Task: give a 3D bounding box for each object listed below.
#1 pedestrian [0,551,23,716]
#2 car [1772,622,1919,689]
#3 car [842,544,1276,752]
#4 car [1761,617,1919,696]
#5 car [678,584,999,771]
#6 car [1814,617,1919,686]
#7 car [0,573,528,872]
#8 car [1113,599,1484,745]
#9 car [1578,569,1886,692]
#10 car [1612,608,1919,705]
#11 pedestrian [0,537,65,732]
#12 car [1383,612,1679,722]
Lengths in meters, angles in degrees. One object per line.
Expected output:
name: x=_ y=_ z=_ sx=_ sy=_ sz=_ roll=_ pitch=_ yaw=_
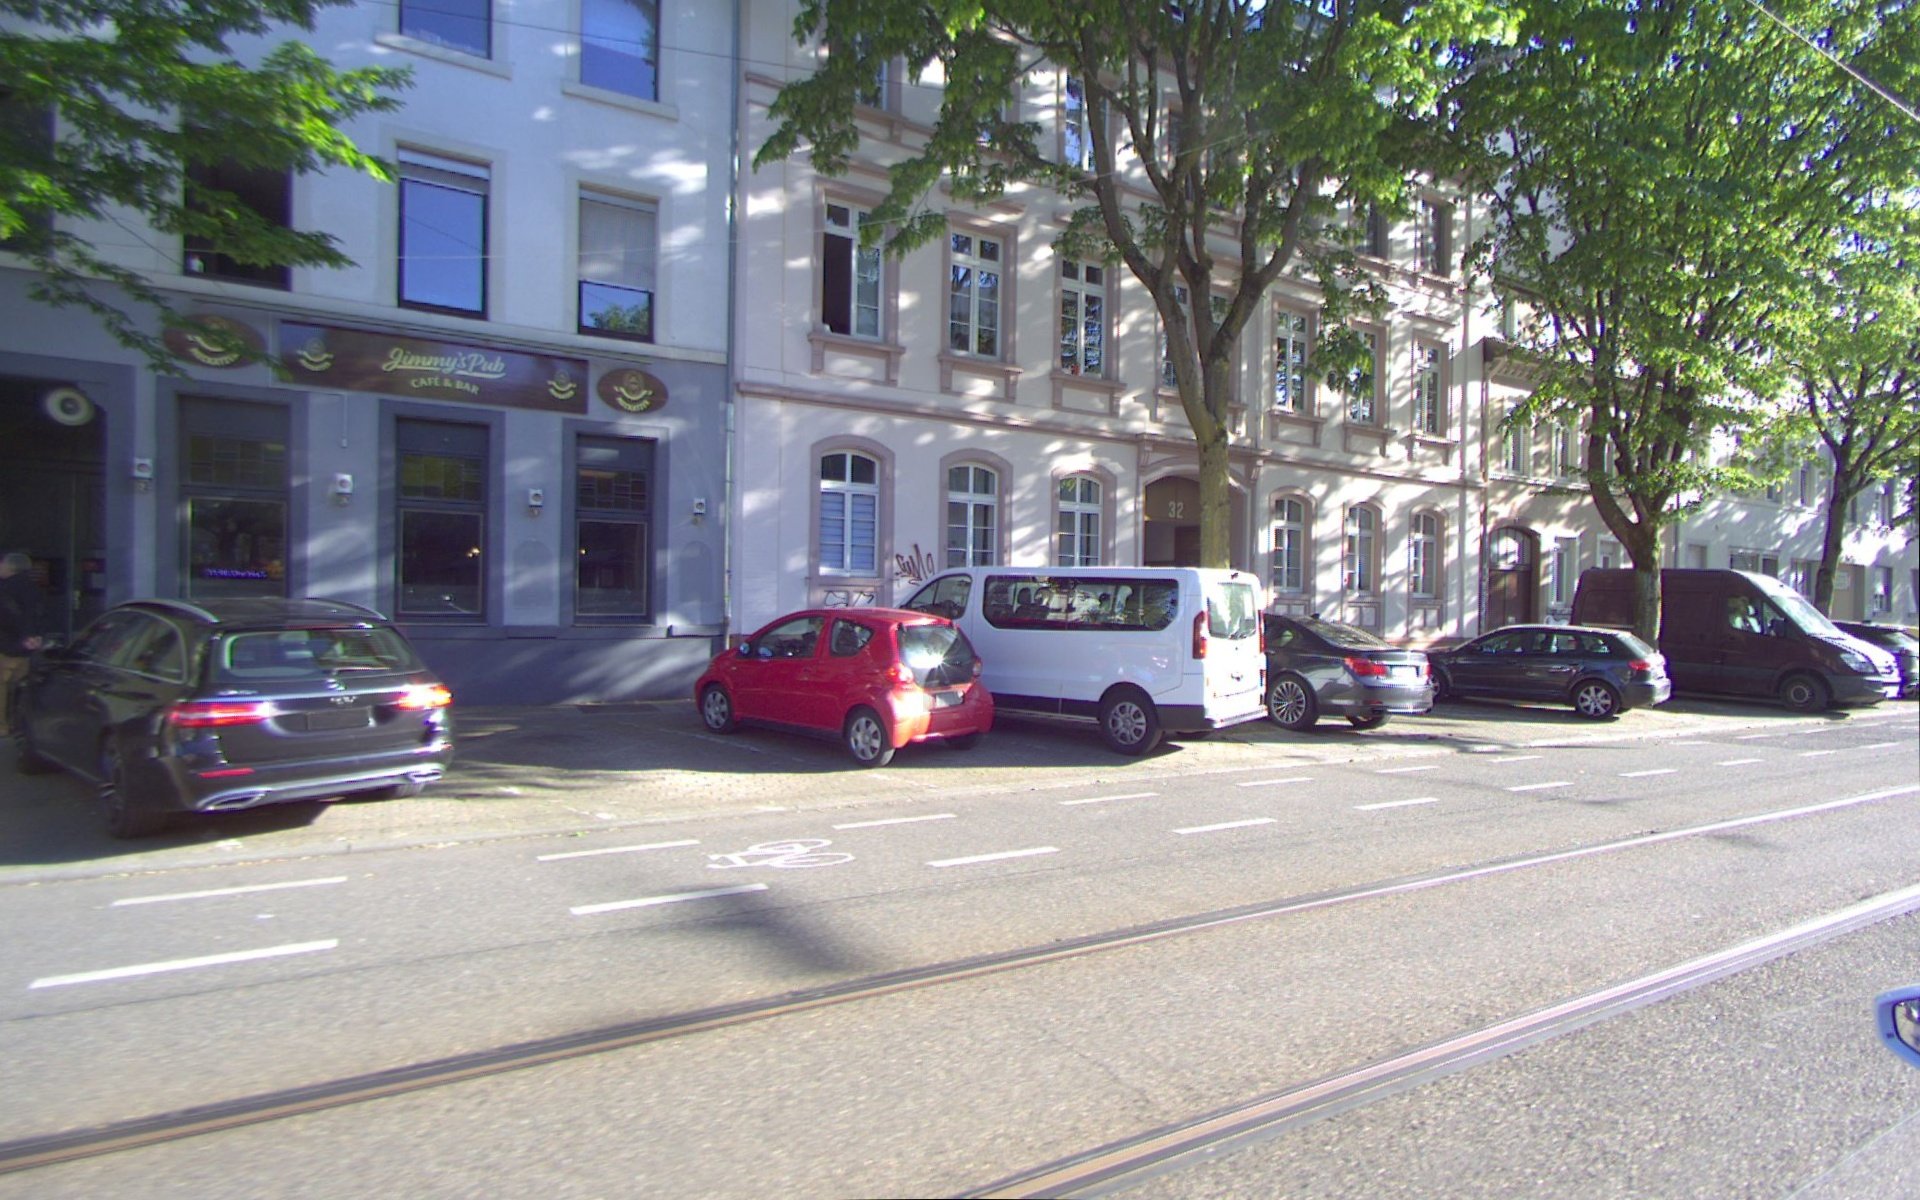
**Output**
pedestrian: x=-10.946 y=0.372 z=11.292 sx=0.505 sy=1.835 sz=0.483 roll=1 pitch=-1 yaw=-34
car: x=22.939 y=1.362 z=25.020 sx=4.116 sy=1.573 sz=1.692 roll=0 pitch=-1 yaw=45
car: x=1.061 y=0.473 z=12.158 sx=4.862 sy=2.040 sz=2.067 roll=1 pitch=-1 yaw=37
car: x=20.386 y=1.246 z=22.721 sx=3.314 sy=1.574 sz=1.381 roll=1 pitch=3 yaw=30
car: x=-1.381 y=0.705 z=10.766 sx=3.288 sy=1.473 sz=1.490 roll=6 pitch=3 yaw=39
car: x=25.316 y=1.375 z=26.443 sx=1.682 sy=1.699 sz=3.969 roll=1 pitch=0 yaw=-29
car: x=-5.224 y=0.668 z=7.366 sx=3.929 sy=1.579 sz=1.778 roll=3 pitch=1 yaw=31
car: x=4.421 y=0.829 z=13.886 sx=1.934 sy=1.597 sz=4.665 roll=1 pitch=0 yaw=-34
car: x=15.143 y=0.570 z=19.962 sx=2.139 sy=2.146 sz=4.413 roll=1 pitch=-1 yaw=-32
car: x=16.969 y=1.094 z=21.336 sx=2.139 sy=1.747 sz=4.802 roll=1 pitch=0 yaw=-32
pedestrian: x=-9.429 y=0.341 z=10.054 sx=0.584 sy=1.911 sz=0.451 roll=1 pitch=-1 yaw=-30
car: x=9.586 y=1.039 z=17.084 sx=1.660 sy=1.472 sz=4.044 roll=2 pitch=1 yaw=-45
